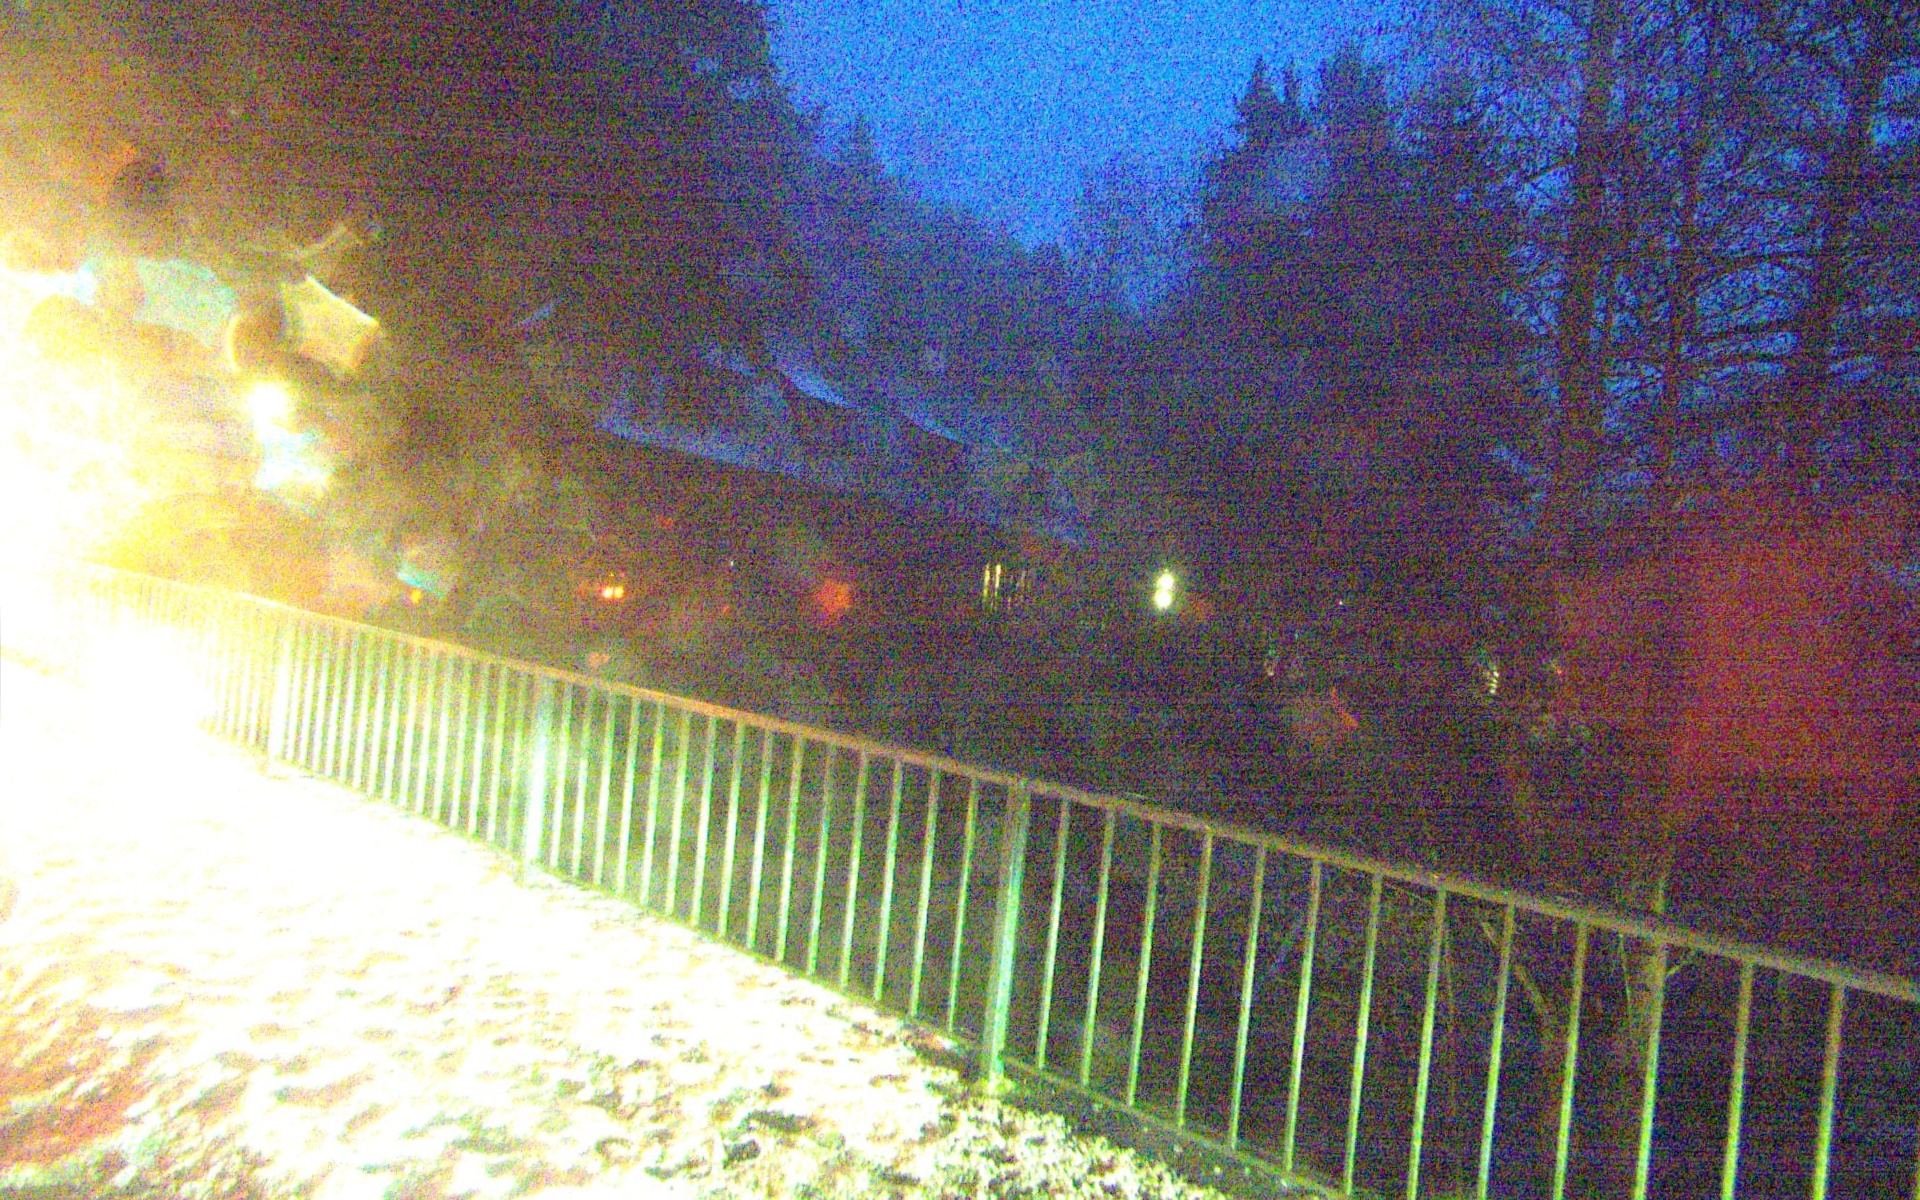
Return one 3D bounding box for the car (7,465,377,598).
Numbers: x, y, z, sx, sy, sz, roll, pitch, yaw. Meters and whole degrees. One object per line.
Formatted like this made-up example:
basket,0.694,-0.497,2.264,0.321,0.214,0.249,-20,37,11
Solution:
car,-12.248,-1.038,16.265,1.913,1.607,4.455,8,3,43
